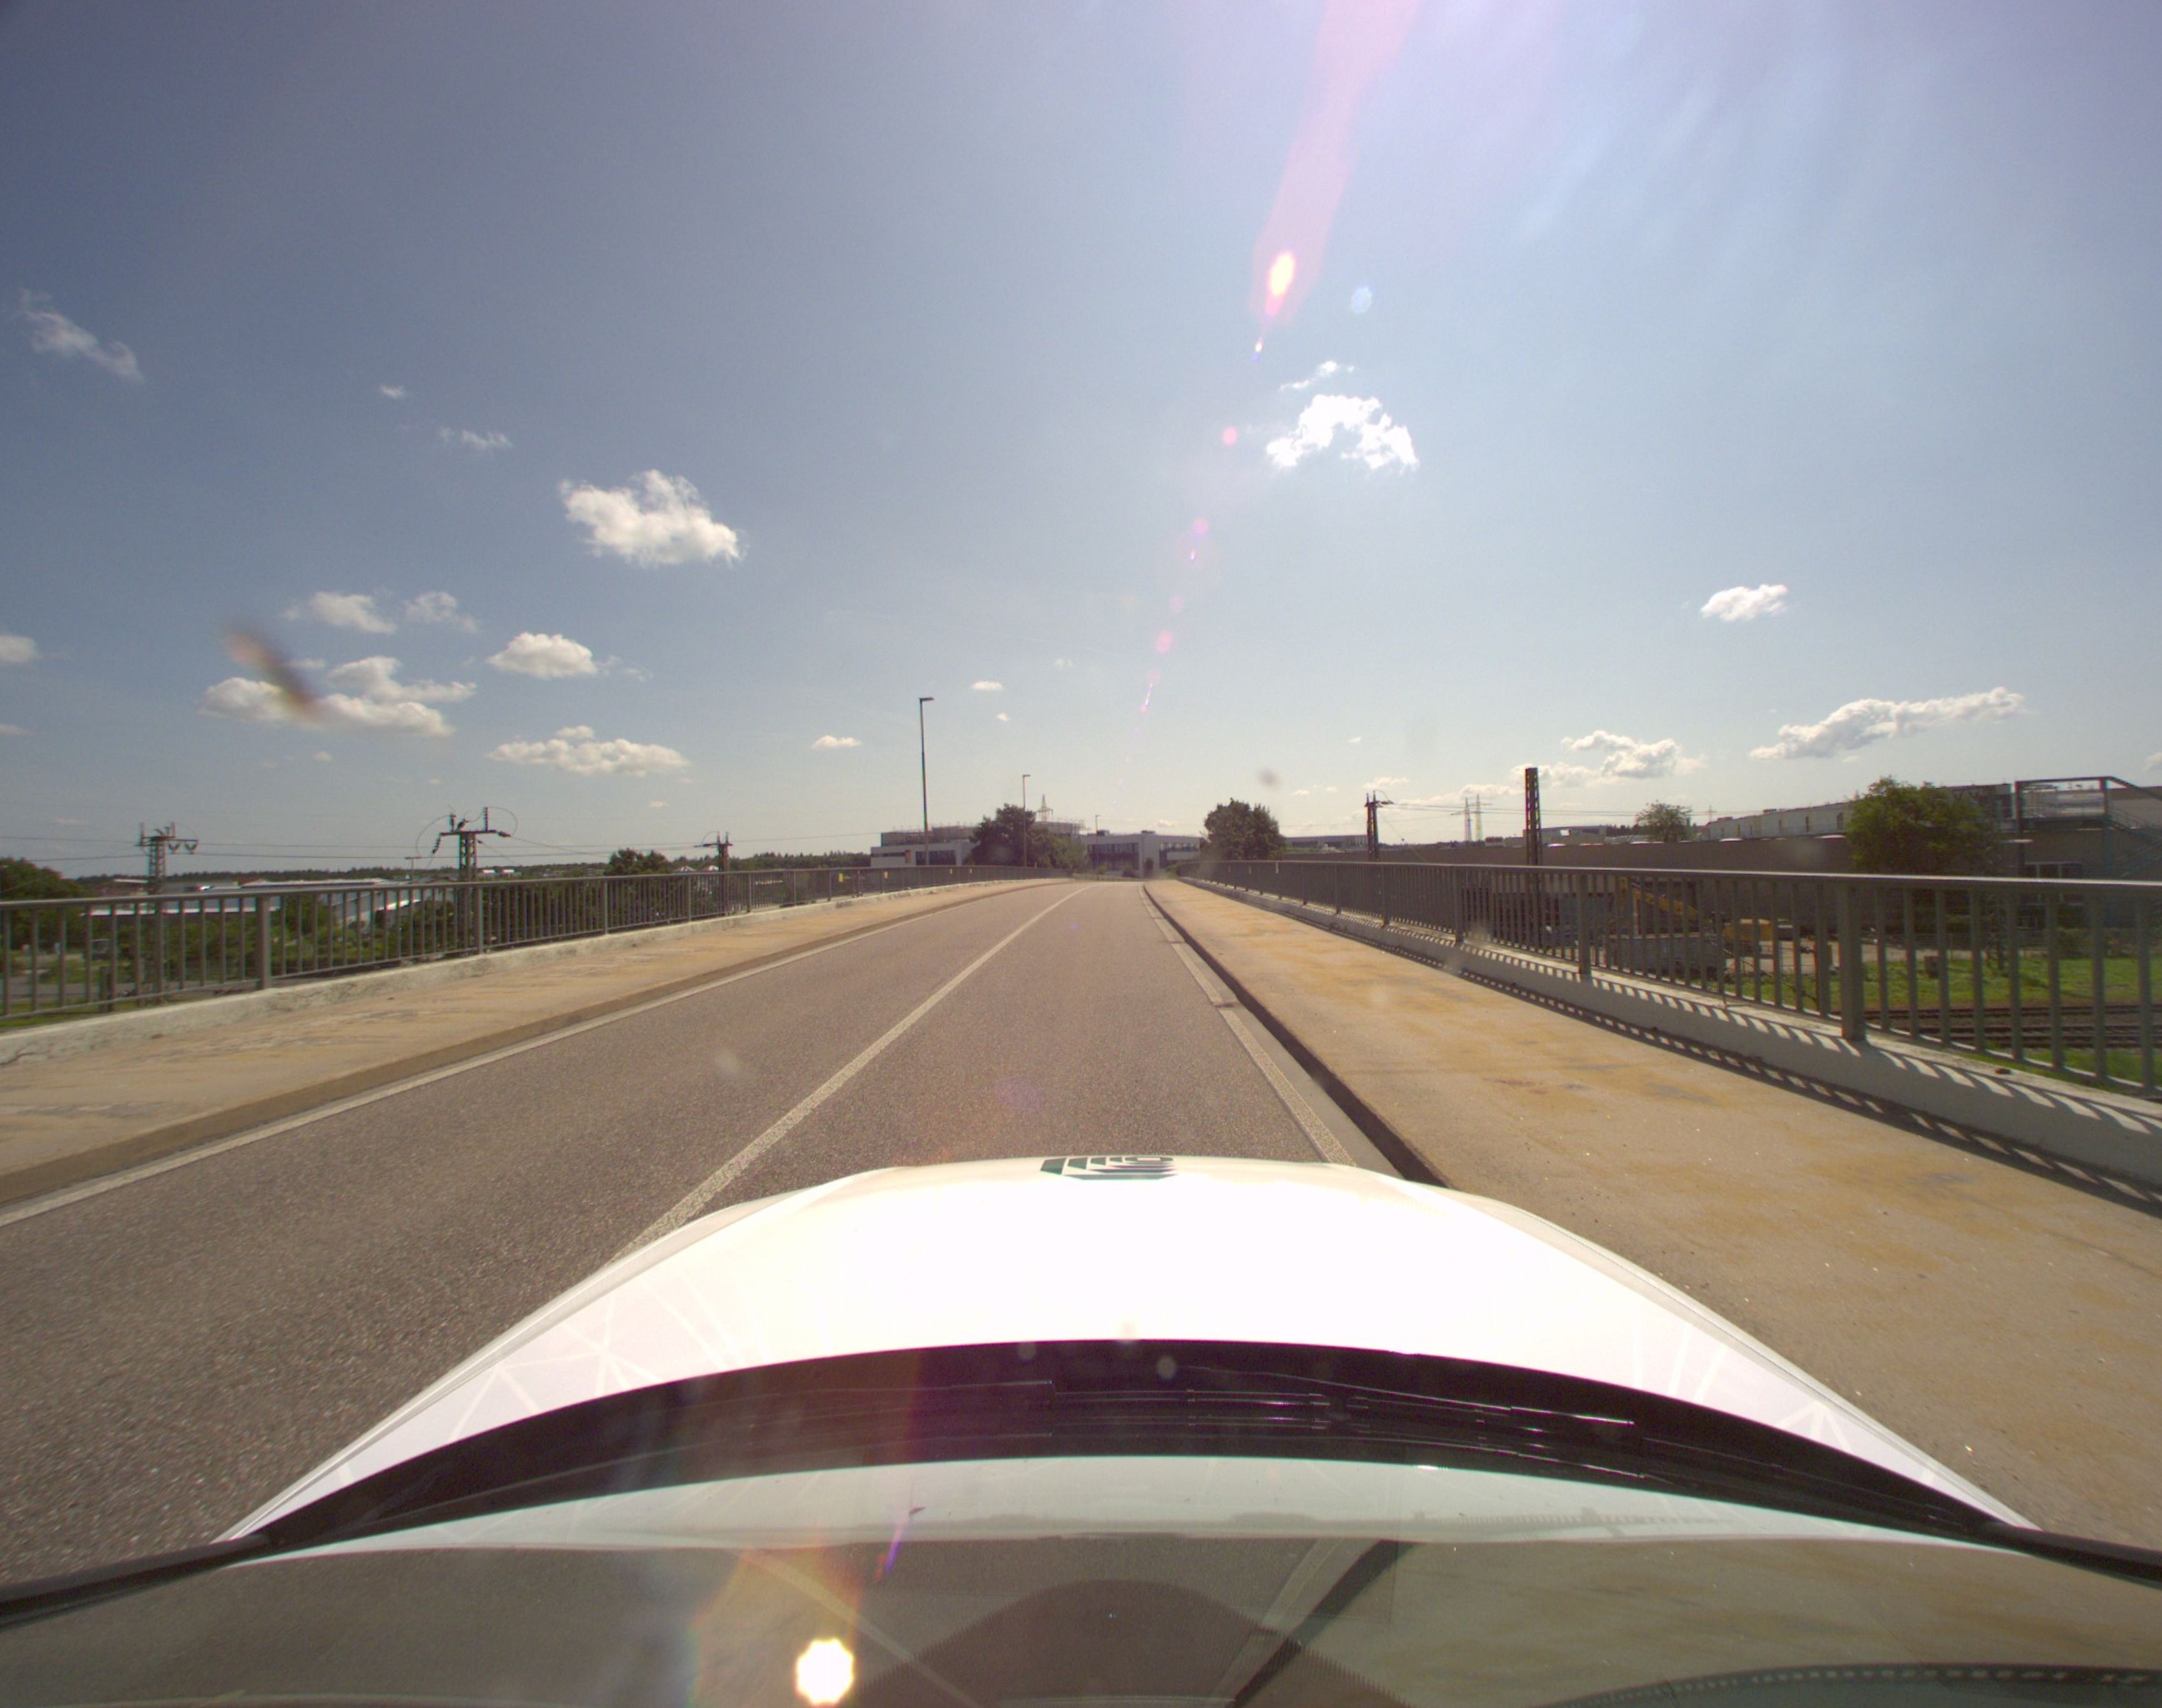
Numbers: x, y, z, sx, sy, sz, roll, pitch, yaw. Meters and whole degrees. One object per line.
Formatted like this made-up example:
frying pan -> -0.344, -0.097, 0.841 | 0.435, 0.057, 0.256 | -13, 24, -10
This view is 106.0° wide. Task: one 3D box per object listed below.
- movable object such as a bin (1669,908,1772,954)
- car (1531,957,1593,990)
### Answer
movable object such as a bin -> 52.009, 6.190, 66.427 | 6.143, 3.290, 3.269 | -2, 0, 30
car -> 33.071, 8.179, 56.153 | 1.984, 1.595, 4.250 | 3, 0, 5
